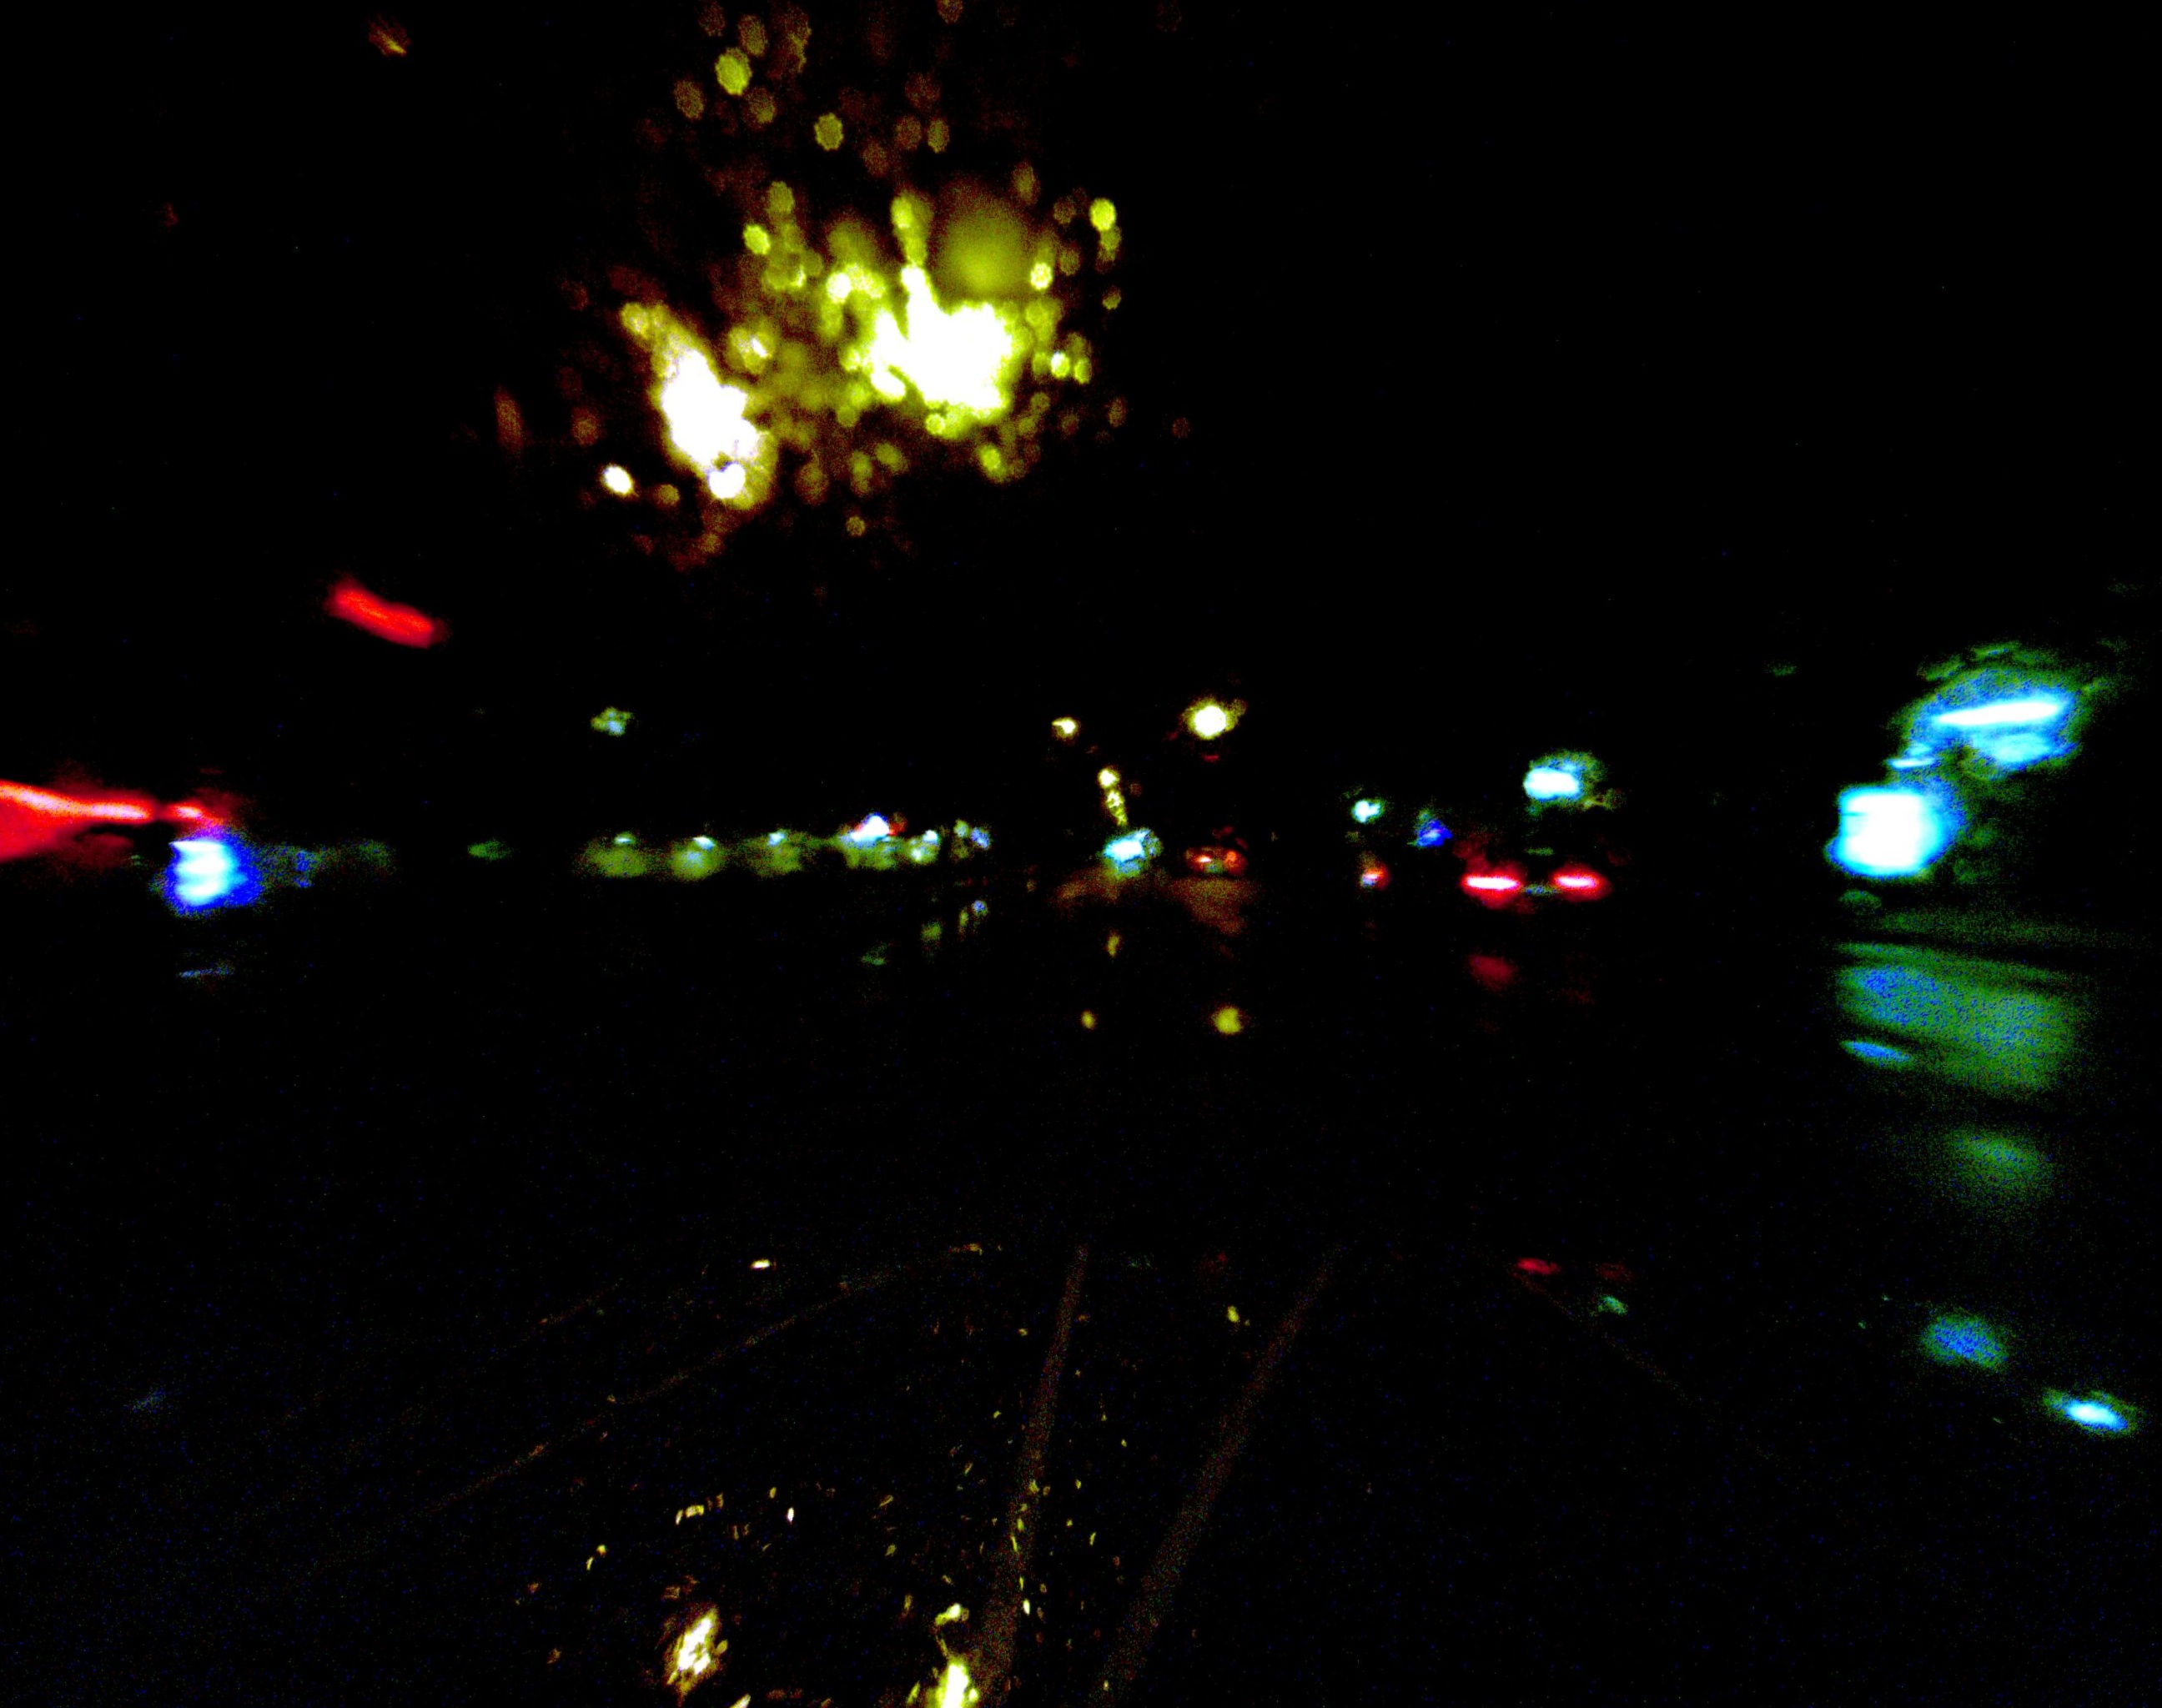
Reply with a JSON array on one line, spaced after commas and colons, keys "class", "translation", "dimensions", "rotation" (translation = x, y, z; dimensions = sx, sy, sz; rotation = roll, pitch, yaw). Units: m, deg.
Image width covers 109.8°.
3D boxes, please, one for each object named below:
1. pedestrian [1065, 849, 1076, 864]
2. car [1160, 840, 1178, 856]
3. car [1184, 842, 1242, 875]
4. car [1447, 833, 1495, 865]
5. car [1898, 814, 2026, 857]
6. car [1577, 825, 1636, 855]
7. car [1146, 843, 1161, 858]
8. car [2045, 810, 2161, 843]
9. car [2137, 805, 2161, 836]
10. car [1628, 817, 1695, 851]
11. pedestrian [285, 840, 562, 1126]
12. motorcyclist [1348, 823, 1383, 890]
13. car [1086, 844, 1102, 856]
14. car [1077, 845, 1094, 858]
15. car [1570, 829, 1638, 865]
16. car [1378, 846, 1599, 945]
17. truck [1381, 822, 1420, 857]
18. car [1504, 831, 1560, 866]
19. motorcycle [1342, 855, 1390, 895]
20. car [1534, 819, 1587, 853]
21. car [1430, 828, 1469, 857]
[{"class": "pedestrian", "translation": [-1.216, 0.270, 87.358], "dimensions": [1.052, 1.566, 1.019], "rotation": [-3, 1, 9]}, {"class": "car", "translation": [8.861, -0.634, 76.680], "dimensions": [1.601, 1.555, 4.380], "rotation": [1, 1, 4]}, {"class": "car", "translation": [6.553, 0.216, 38.308], "dimensions": [1.857, 1.491, 4.768], "rotation": [-2, 0, -3]}, {"class": "car", "translation": [18.625, -0.275, 36.397], "dimensions": [1.715, 1.423, 3.924], "rotation": [-2, 1, 23]}, {"class": "car", "translation": [34.417, -0.729, 29.841], "dimensions": [1.715, 1.511, 3.924], "rotation": [-2, 1, 23]}, {"class": "car", "translation": [30.482, -0.833, 44.221], "dimensions": [1.866, 1.604, 4.500], "rotation": [-2, 1, 22]}, {"class": "car", "translation": [10.745, -0.543, 112.474], "dimensions": [1.478, 1.610, 3.373], "rotation": [23, 2, 1]}, {"class": "car", "translation": [48.741, -1.290, 35.952], "dimensions": [1.866, 1.434, 4.500], "rotation": [-2, 1, 22]}, {"class": "car", "translation": [51.519, -1.581, 34.627], "dimensions": [1.866, 1.434, 4.500], "rotation": [-2, 1, 22]}, {"class": "car", "translation": [32.540, -1.138, 42.726], "dimensions": [1.866, 1.750, 4.500], "rotation": [-2, 1, 22]}, {"class": "pedestrian", "translation": [-4.481, 0.828, 5.267], "dimensions": [1.110, 1.815, 0.851], "rotation": [-2, 1, 4]}, {"class": "motorcyclist", "translation": [8.697, 0.066, 23.270], "dimensions": [0.694, 2.002, 0.982], "rotation": [-2, 1, 2]}, {"class": "car", "translation": [1.657, -0.525, 96.794], "dimensions": [1.826, 1.414, 4.488], "rotation": [-1, 1, 3]}, {"class": "car", "translation": [0.582, -0.311, 91.554], "dimensions": [1.826, 1.522, 4.783], "rotation": [-1, 1, 3]}, {"class": "car", "translation": [23.420, -0.353, 34.156], "dimensions": [1.715, 1.511, 3.924], "rotation": [-2, 1, 23]}, {"class": "car", "translation": [7.005, 0.616, 13.624], "dimensions": [1.650, 1.503, 4.107], "rotation": [0, 0, -2]}, {"class": "truck", "translation": [20.006, -0.892, 47.768], "dimensions": [2.125, 2.002, 5.270], "rotation": [-2, 0, 22]}, {"class": "car", "translation": [21.035, -0.283, 35.578], "dimensions": [1.715, 1.511, 3.924], "rotation": [-2, 1, 23]}, {"class": "motorcycle", "translation": [8.723, 0.629, 23.351], "dimensions": [0.703, 1.132, 2.175], "rotation": [-2, 1, 2]}, {"class": "car", "translation": [28.050, -1.065, 44.600], "dimensions": [1.866, 1.784, 4.500], "rotation": [-2, 1, 22]}, {"class": "car", "translation": [22.533, -0.743, 46.578], "dimensions": [1.866, 1.604, 4.500], "rotation": [-2, 1, 22]}]
